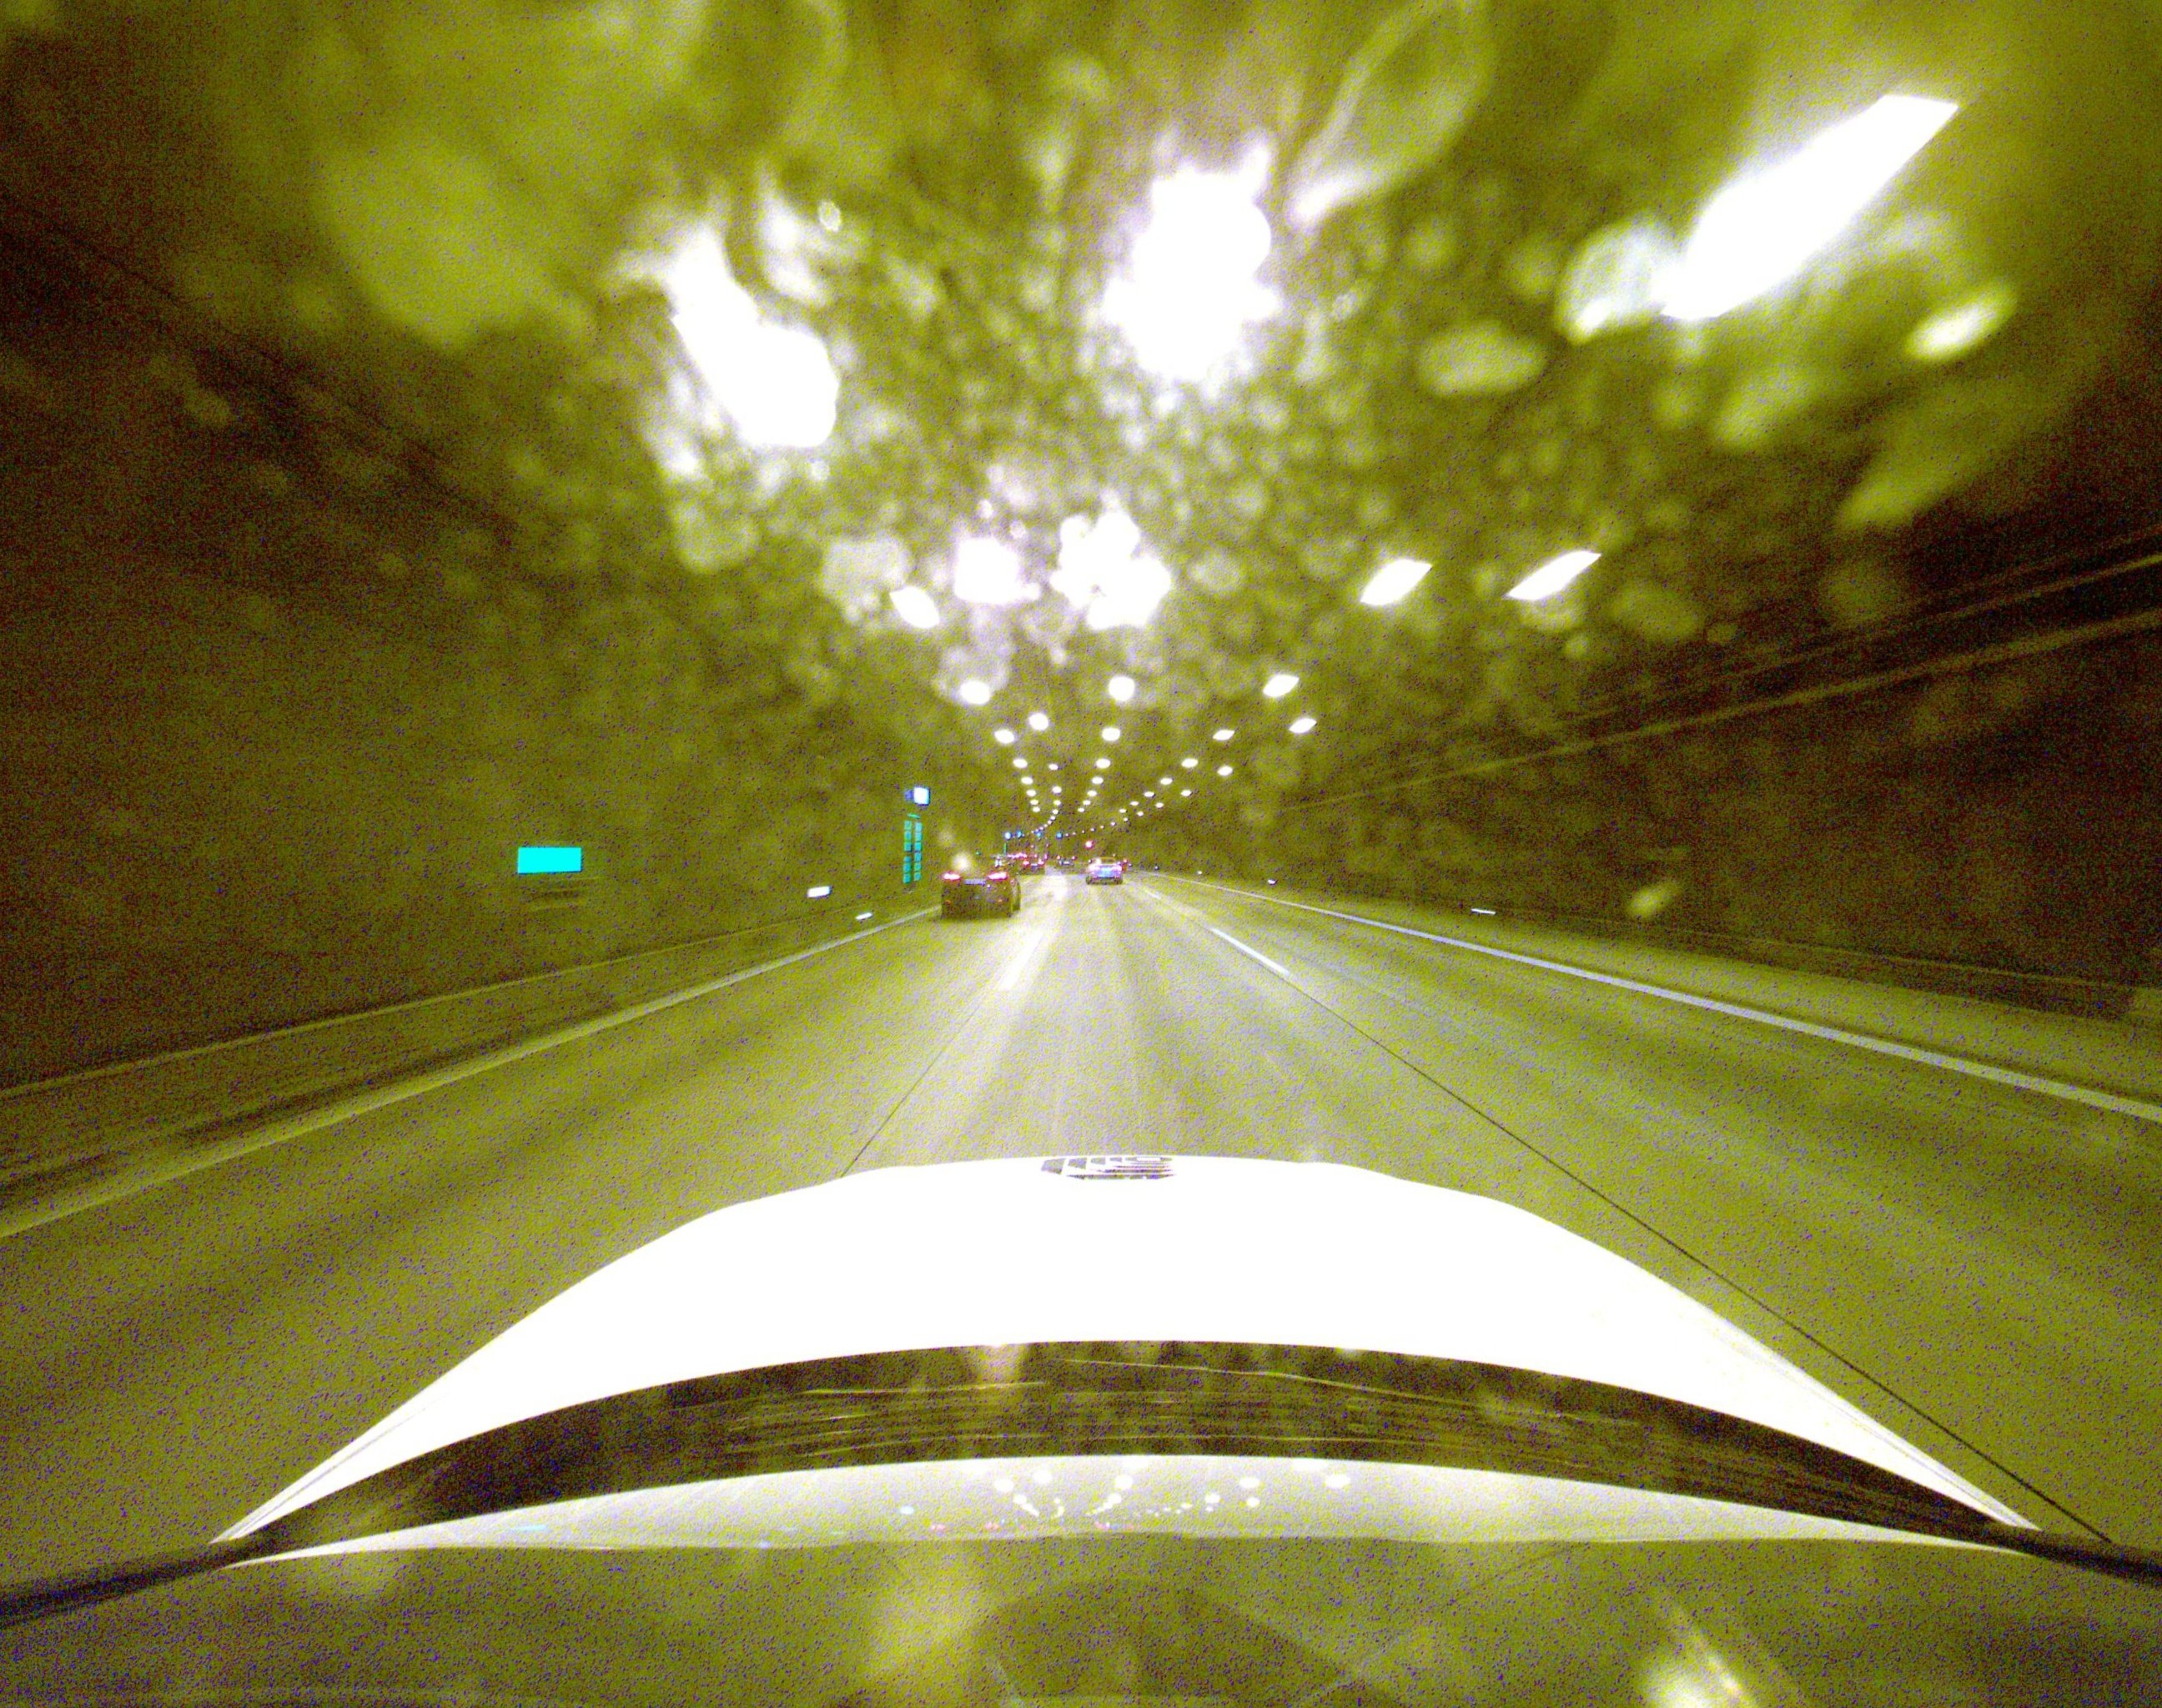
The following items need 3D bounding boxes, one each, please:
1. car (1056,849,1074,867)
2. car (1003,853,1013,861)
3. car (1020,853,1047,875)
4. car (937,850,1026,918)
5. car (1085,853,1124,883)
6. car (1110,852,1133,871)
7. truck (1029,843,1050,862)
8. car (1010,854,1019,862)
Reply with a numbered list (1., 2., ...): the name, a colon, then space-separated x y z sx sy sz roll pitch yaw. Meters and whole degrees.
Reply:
1. car: -1.879 0.467 93.472 1.988 1.972 3.997 -1 0 -2
2. car: -15.548 0.672 173.739 1.993 1.530 3.988 0 0 -9
3. car: -3.852 0.806 65.308 1.799 1.684 3.989 0 0 -8
4. car: -2.544 0.729 21.629 1.779 1.598 3.802 -1 0 1
5. car: 1.259 0.716 43.268 1.986 1.483 4.001 0 0 1
6. car: 3.594 0.648 73.008 1.834 1.602 3.998 0 0 -1
7. truck: -7.340 -0.300 141.820 3.079 3.112 10.007 0 1 -6
8. car: -15.694 0.908 192.044 1.992 1.754 3.989 0 -1 -8
